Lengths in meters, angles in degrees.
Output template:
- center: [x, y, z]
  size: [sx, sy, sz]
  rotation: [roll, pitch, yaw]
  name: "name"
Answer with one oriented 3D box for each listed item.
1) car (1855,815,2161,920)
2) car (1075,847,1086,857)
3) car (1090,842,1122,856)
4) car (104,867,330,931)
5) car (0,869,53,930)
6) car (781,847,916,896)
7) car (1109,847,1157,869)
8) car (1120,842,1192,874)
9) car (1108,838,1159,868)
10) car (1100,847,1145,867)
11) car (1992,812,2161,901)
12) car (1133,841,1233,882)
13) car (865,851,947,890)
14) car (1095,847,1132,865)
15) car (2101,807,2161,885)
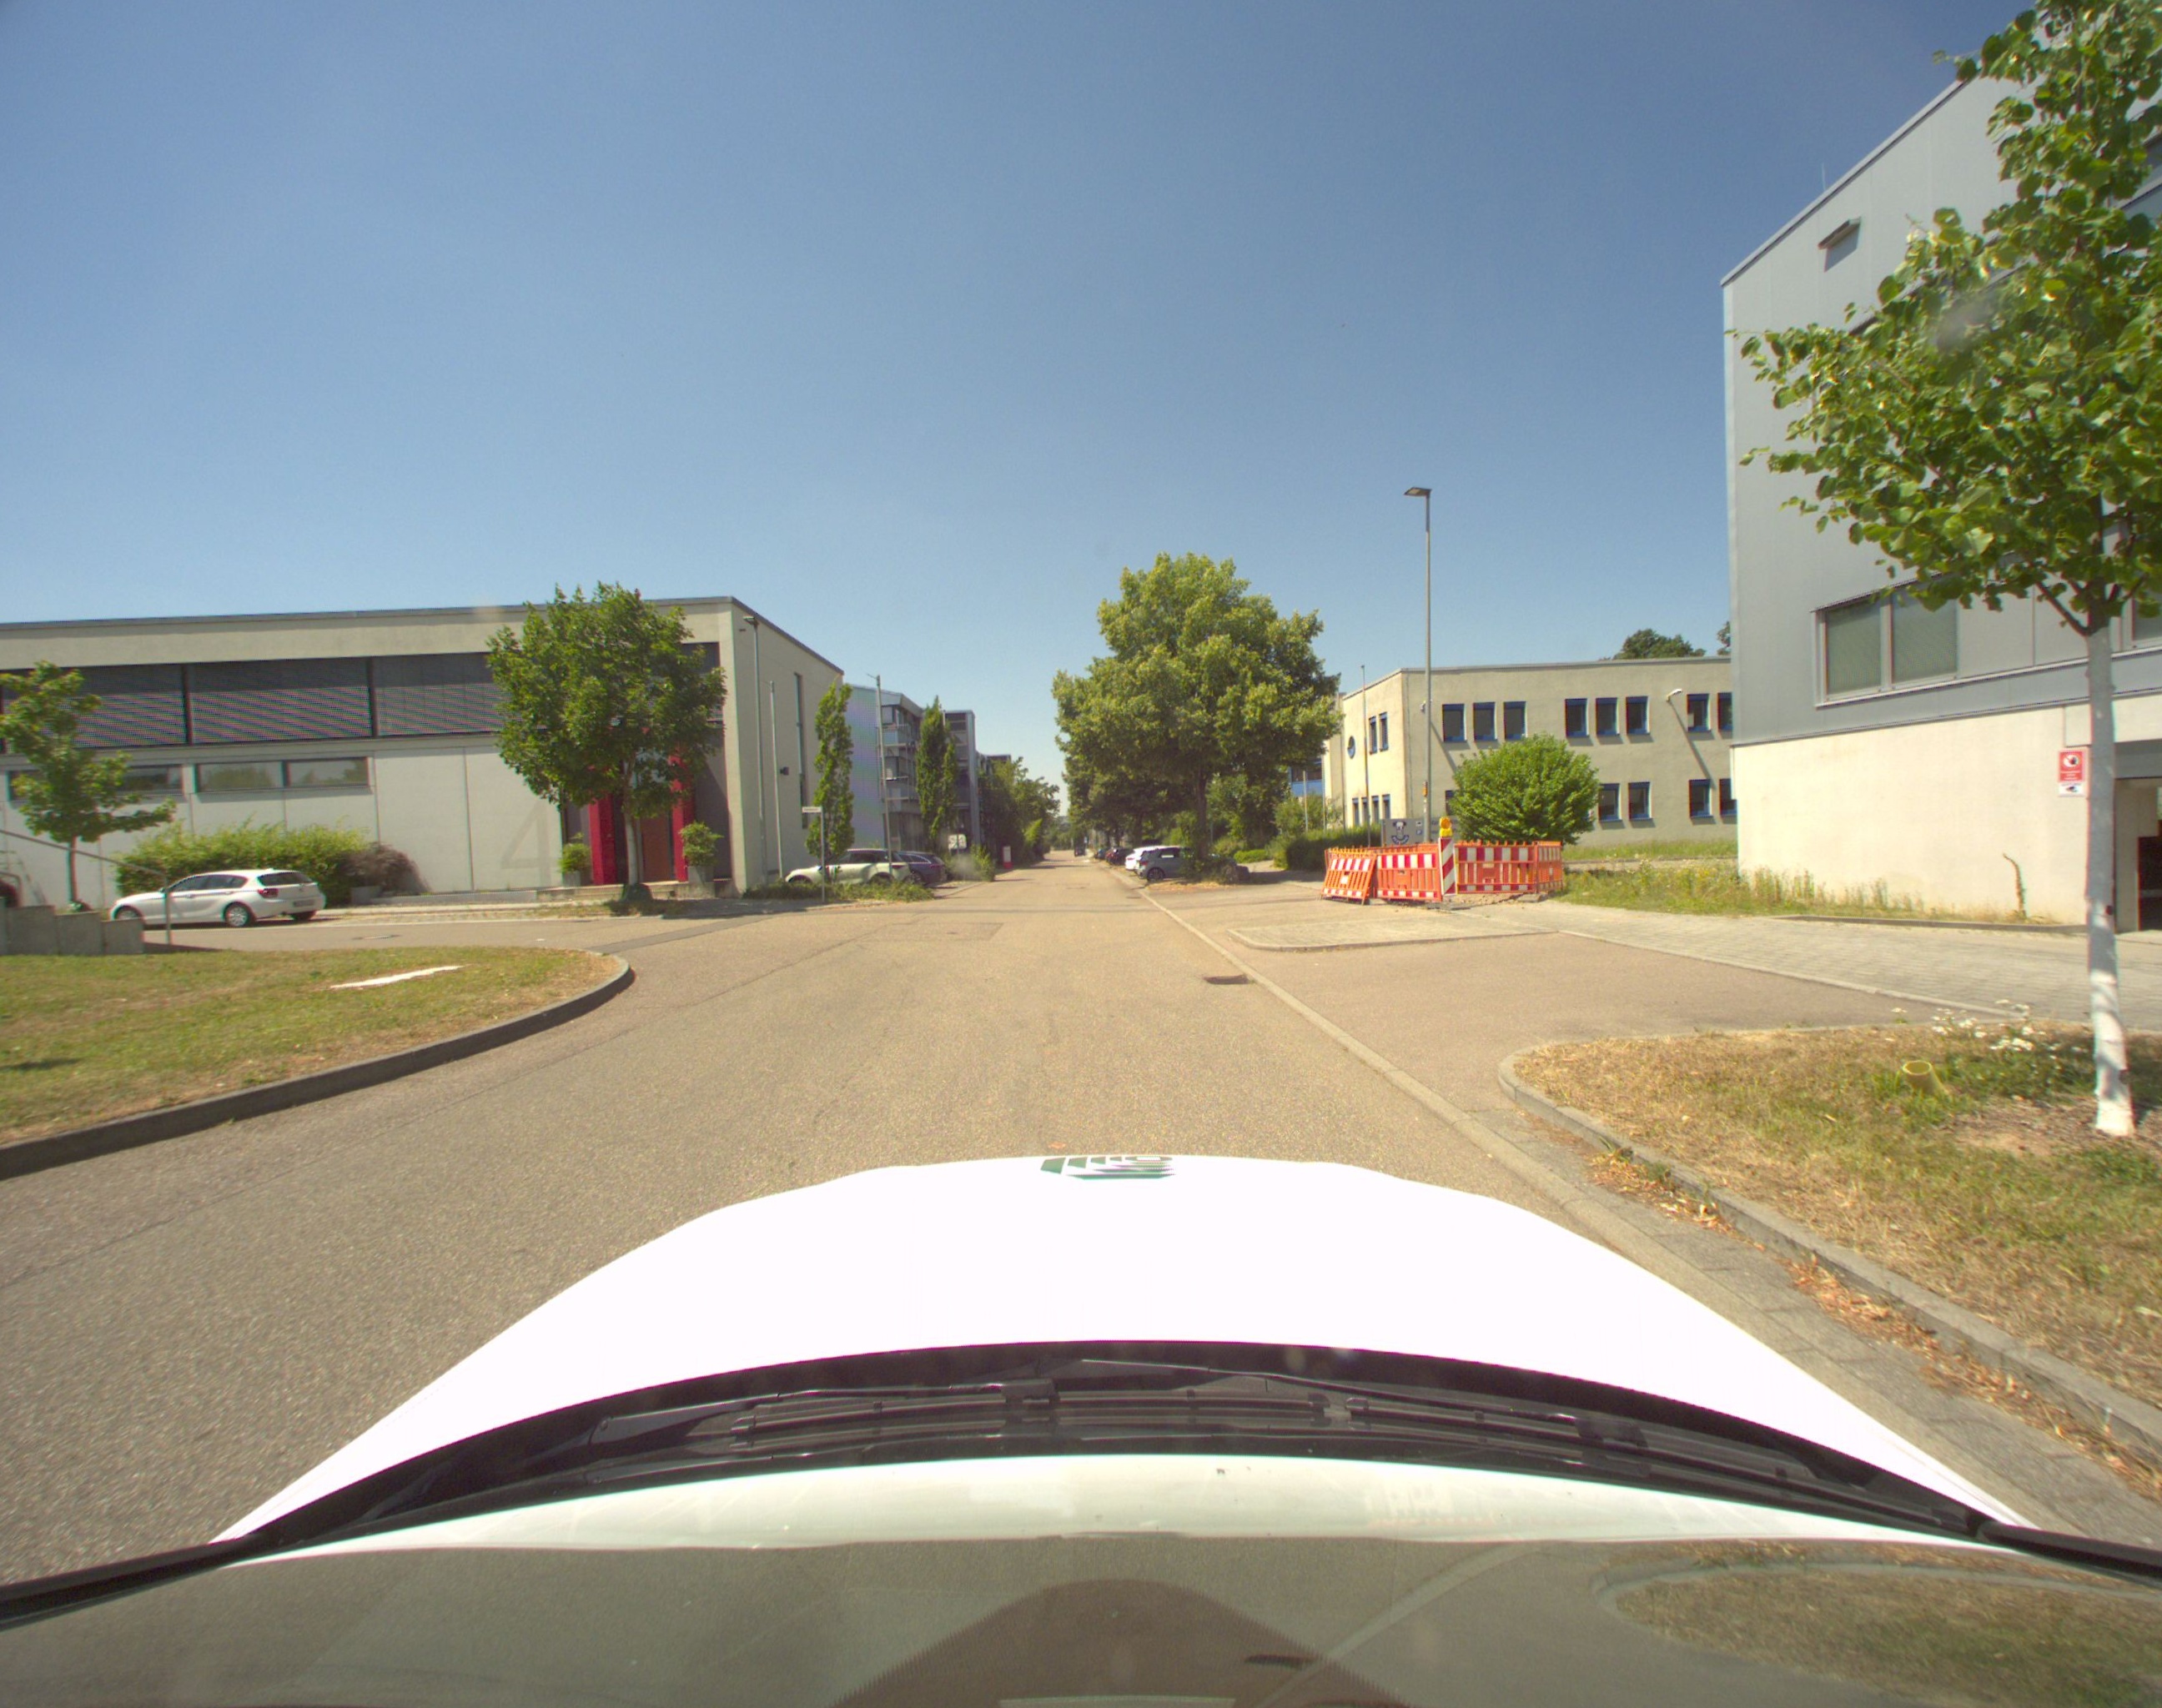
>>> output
- center: [16.266, 0.111, 14.216]
  size: [1.819, 1.452, 4.004]
  rotation: [-3, 3, 3]
  name: "car"
- center: [-0.107, -0.347, 143.741]
  size: [1.755, 1.755, 3.944]
  rotation: [-1, 0, 0]
  name: "car"
- center: [3.174, -0.661, 104.620]
  size: [3.929, 1.577, 1.763]
  rotation: [-2, 3, -8]
  name: "car"
- center: [-22.331, 1.139, 21.159]
  size: [3.987, 1.408, 1.657]
  rotation: [-1, 3, 0]
  name: "car"
- center: [-30.867, 1.280, 21.848]
  size: [3.977, 1.537, 1.809]
  rotation: [-1, 3, -3]
  name: "car"
- center: [-7.787, 0.570, 27.572]
  size: [4.037, 1.495, 1.727]
  rotation: [-1, 0, -3]
  name: "car"
- center: [4.122, 0.291, 65.071]
  size: [3.711, 1.627, 1.813]
  rotation: [-1, 0, -1]
  name: "car"
- center: [3.905, 0.211, 42.641]
  size: [3.511, 1.354, 1.535]
  rotation: [-4, 0, -5]
  name: "car"
- center: [3.950, -0.076, 61.757]
  size: [3.711, 2.110, 1.813]
  rotation: [-1, 0, -1]
  name: "car"
- center: [3.572, 0.269, 70.349]
  size: [3.711, 1.627, 1.813]
  rotation: [-1, 0, -1]
  name: "car"
- center: [18.921, 0.021, 14.118]
  size: [1.874, 1.477, 4.003]
  rotation: [-1, 0, 2]
  name: "car"
- center: [4.088, 0.302, 32.941]
  size: [3.673, 1.354, 1.642]
  rotation: [-4, 0, -5]
  name: "car"
- center: [-6.896, 0.637, 32.327]
  size: [3.055, 1.478, 1.289]
  rotation: [-1, 0, -7]
  name: "car"
- center: [3.699, 0.177, 92.546]
  size: [3.929, 1.834, 1.763]
  rotation: [-2, 3, -8]
  name: "car"
- center: [21.777, -0.106, 14.681]
  size: [1.874, 1.452, 4.004]
  rotation: [-3, 3, 3]
  name: "car"
